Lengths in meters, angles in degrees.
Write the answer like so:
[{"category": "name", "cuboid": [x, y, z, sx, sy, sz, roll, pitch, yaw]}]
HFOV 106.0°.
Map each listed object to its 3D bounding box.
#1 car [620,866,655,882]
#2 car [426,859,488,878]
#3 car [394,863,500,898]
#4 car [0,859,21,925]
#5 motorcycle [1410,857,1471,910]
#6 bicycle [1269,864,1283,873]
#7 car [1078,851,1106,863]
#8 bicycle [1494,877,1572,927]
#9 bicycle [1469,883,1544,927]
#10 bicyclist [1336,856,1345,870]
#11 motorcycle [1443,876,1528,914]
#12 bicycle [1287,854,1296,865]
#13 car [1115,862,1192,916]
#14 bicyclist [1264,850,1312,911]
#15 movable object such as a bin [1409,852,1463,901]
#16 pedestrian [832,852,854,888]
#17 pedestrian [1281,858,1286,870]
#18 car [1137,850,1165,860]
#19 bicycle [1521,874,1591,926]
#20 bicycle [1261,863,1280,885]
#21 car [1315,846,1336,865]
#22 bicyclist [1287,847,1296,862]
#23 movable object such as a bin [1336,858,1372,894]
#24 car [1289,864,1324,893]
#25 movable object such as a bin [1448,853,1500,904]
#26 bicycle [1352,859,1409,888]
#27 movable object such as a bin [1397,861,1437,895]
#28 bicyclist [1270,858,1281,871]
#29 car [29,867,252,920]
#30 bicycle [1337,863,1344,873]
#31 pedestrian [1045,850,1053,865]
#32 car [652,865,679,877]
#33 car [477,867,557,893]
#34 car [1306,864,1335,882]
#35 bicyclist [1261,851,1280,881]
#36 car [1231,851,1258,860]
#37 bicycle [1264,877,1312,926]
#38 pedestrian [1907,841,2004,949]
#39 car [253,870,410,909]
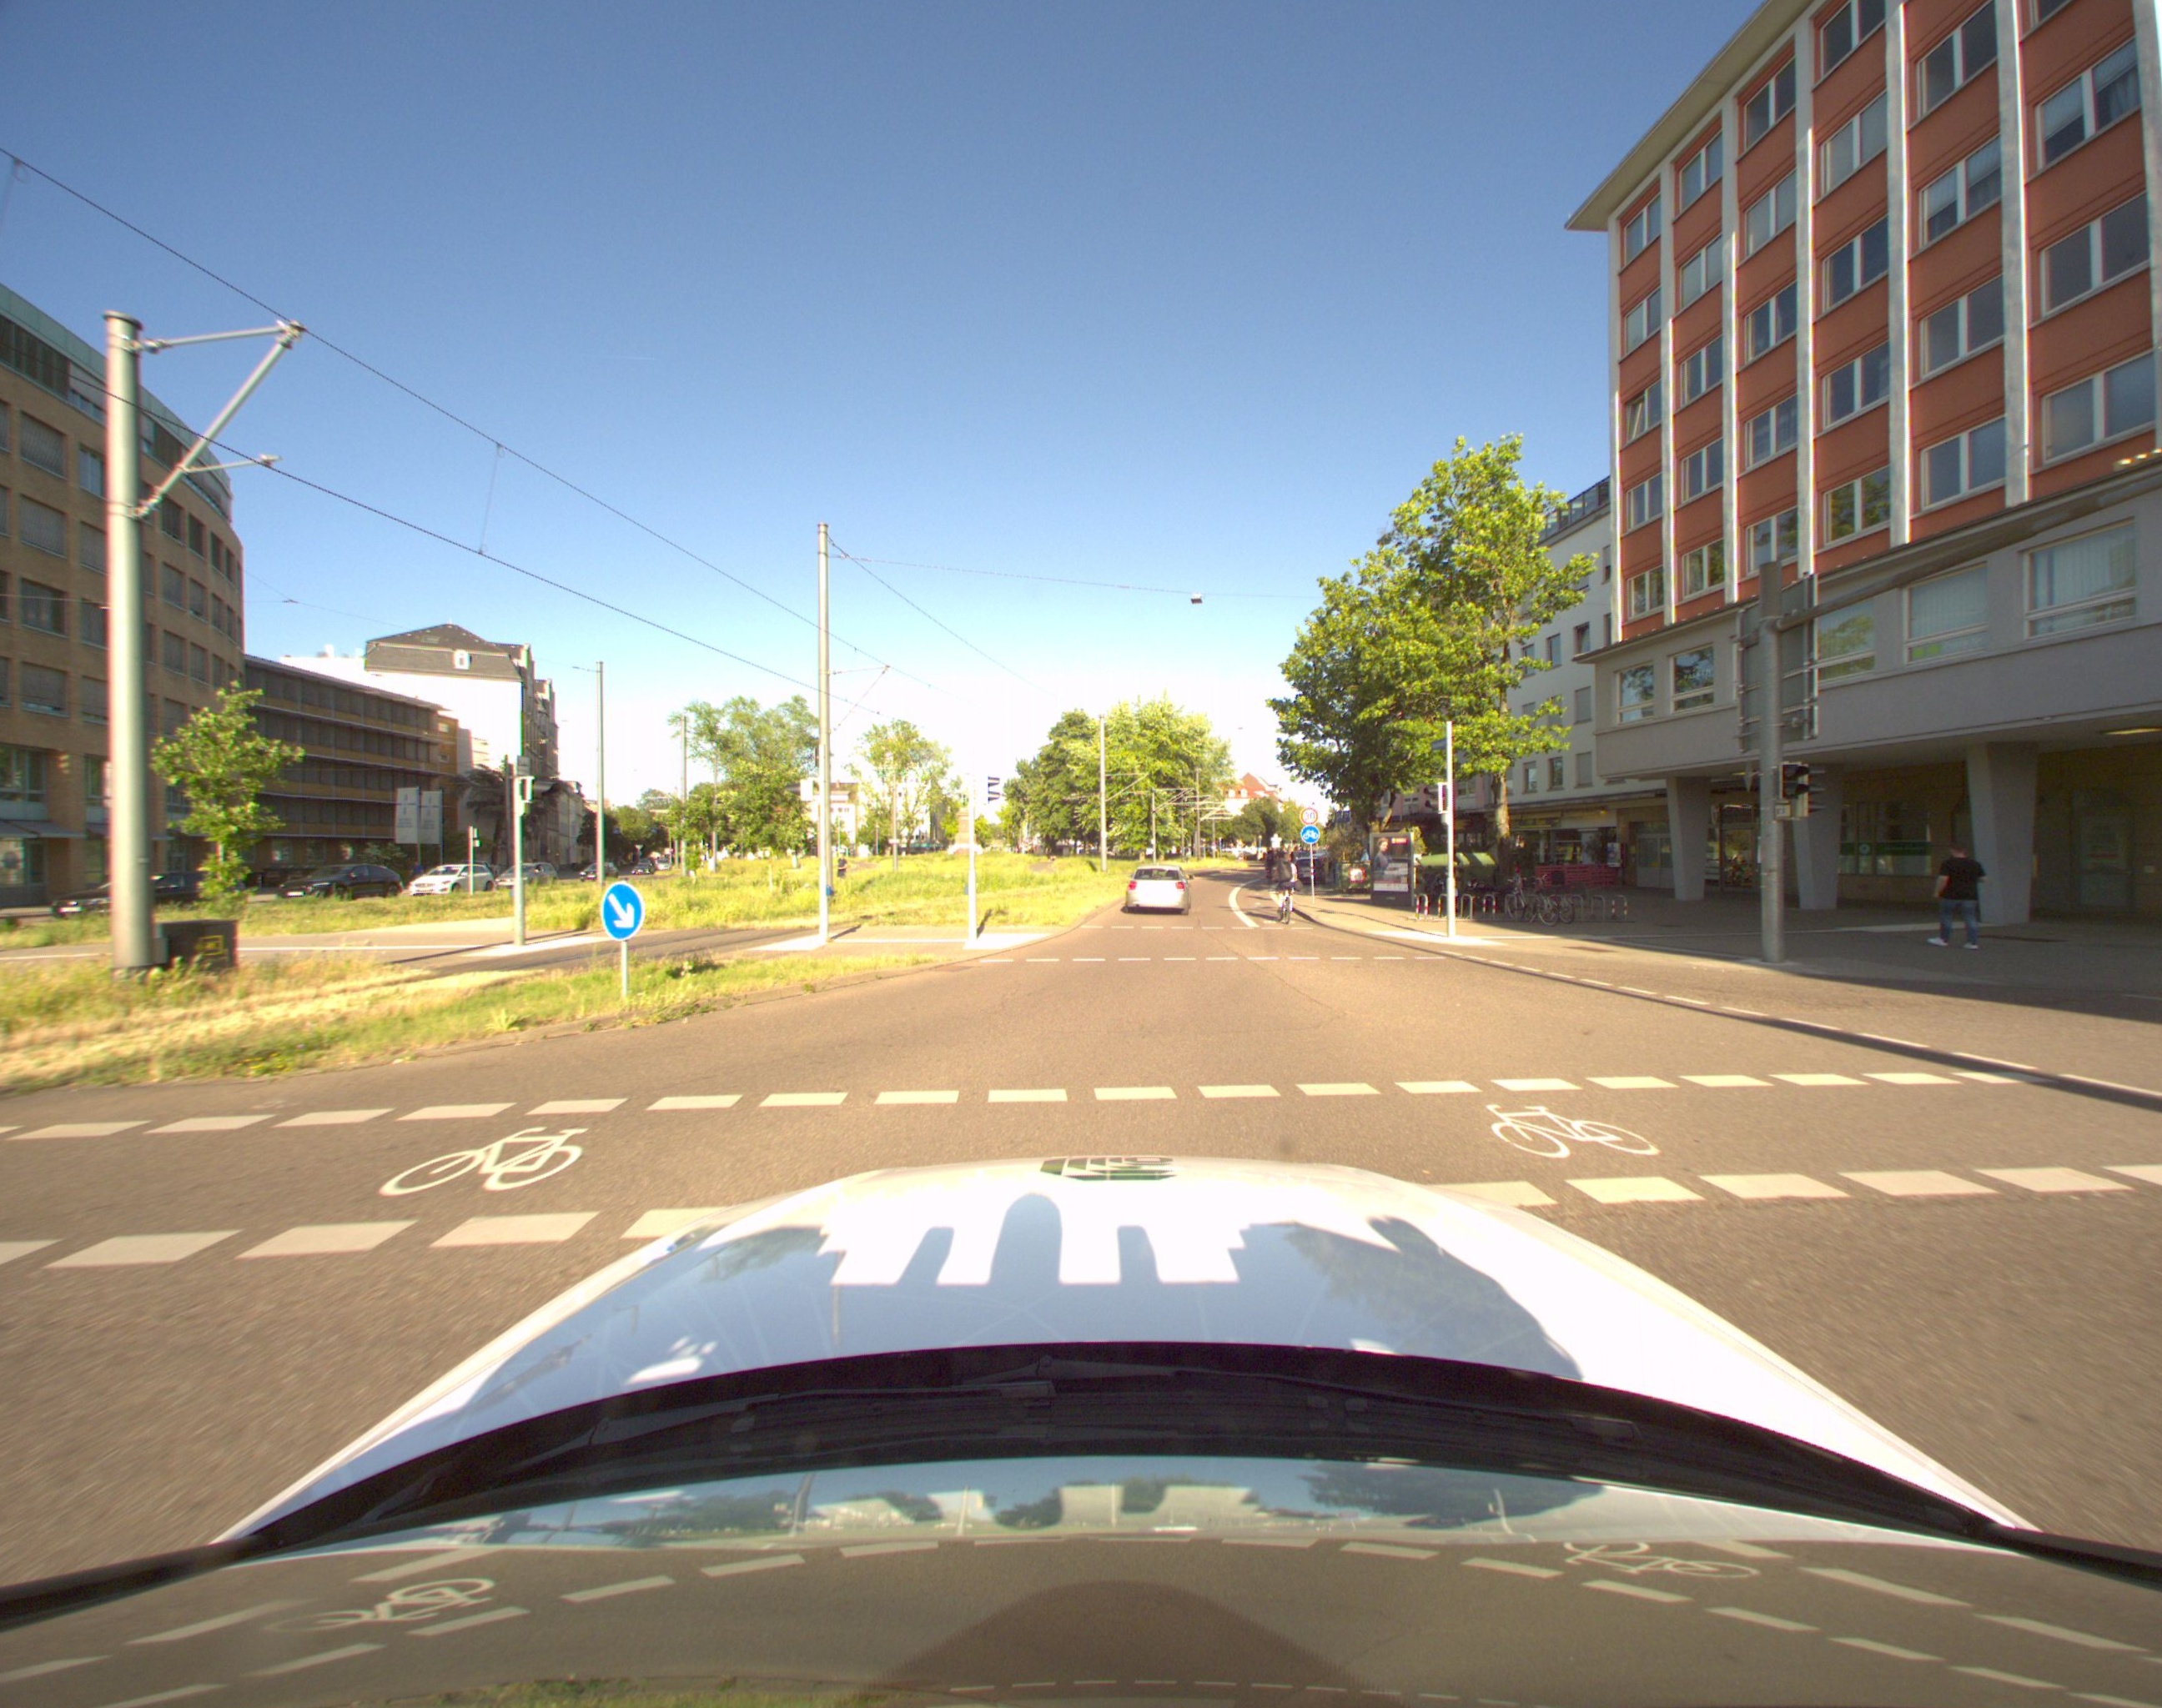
[{"category": "car", "cuboid": [-46.561, 2.132, 85.577, 1.994, 1.513, 4.266, 1, -4, -10]}, {"category": "car", "cuboid": [-53.040, 1.251, 69.299, 4.017, 1.581, 1.978, 2, -1, -36]}, {"category": "car", "cuboid": [-31.558, 1.300, 40.748, 1.992, 1.596, 4.644, 1, -1, -7]}, {"category": "car", "cuboid": [-29.034, 0.987, 19.071, 2.098, 1.734, 5.073, 0, 0, -7]}, {"category": "motorcycle", "cuboid": [11.090, 0.879, 25.258, 0.799, 1.539, 2.545, 1, 0, 1]}, {"category": "bicycle", "cuboid": [23.238, 1.682, 97.075, 0.809, 1.069, 2.575, 1, -1, -8]}, {"category": "car", "cuboid": [2.226, 0.538, 166.062, 5.327, 2.314, 1.996, 1, -1, -5]}, {"category": "bicycle", "cuboid": [11.116, 1.154, 20.107, 0.475, 1.117, 2.113, 1, -1, -9]}, {"category": "bicycle", "cuboid": [10.411, 1.223, 20.028, 0.475, 0.984, 2.113, 1, -1, -9]}, {"category": "bicyclist", "cuboid": [23.867, 0.831, 74.914, 0.752, 1.326, 0.999, 1, -1, 20]}, {"category": "motorcycle", "cuboid": [11.557, 1.171, 23.274, 2.093, 1.022, 0.761, 1, -1, -5]}, {"category": "bicycle", "cuboid": [20.179, 0.527, 78.097, 0.647, 0.958, 2.709, 1, -1, 17]}, {"category": "car", "cuboid": [2.236, 0.982, 23.963, 1.982, 1.423, 4.206, 1, -1, 8]}, {"category": "bicyclist", "cuboid": [5.212, 0.657, 20.552, 1.032, 1.484, 0.990, 1, -1, 6]}, {"category": "movable object such as a bin", "cuboid": [12.066, 0.773, 27.733, 1.379, 1.640, 1.006, 0, -1, -7]}, {"category": "pedestrian", "cuboid": [-11.269, 0.750, 38.588, 0.728, 1.671, 0.748, 0, -1, 19]}, {"category": "pedestrian", "cuboid": [28.944, 1.425, 116.478, 0.631, 1.672, 0.696, 1, -2, 19]}, {"category": "car", "cuboid": [14.838, 0.255, 172.422, 5.572, 2.014, 1.812, 1, -1, -8]}, {"category": "bicycle", "cuboid": [12.034, 1.147, 20.701, 0.531, 1.244, 1.843, 1, -1, -7]}, {"category": "bicycle", "cuboid": [10.734, 1.113, 46.098, 0.813, 1.185, 1.973, 1, -1, 18]}, {"category": "car", "cuboid": [25.537, 0.195, 85.128, 1.978, 1.813, 4.329, 1, -1, 18]}, {"category": "bicyclist", "cuboid": [20.166, 0.043, 78.061, 0.780, 1.453, 1.100, 1, -1, 17]}, {"category": "movable object such as a bin", "cuboid": [11.197, 0.900, 33.447, 1.272, 1.391, 0.925, 1, -1, 12]}, {"category": "car", "cuboid": [12.307, 1.285, 44.333, 1.752, 1.438, 4.603, -1, 0, 16]}, {"category": "movable object such as a bin", "cuboid": [13.392, 0.828, 27.798, 1.254, 1.709, 0.943, 0, -2, -7]}, {"category": "bicycle", "cuboid": [13.049, 0.835, 35.480, 2.141, 1.251, 0.905, -1, -1, 40]}, {"category": "movable object such as a bin", "cuboid": [13.822, 0.982, 33.499, 1.210, 1.391, 0.958, 1, -1, -5]}, {"category": "bicyclist", "cuboid": [23.220, 1.244, 97.185, 0.928, 1.507, 0.823, 1, -1, -9]}, {"category": "car", "cuboid": [-29.753, 1.200, 26.056, 1.992, 1.517, 4.650, 1, -1, -7]}, {"category": "bicycle", "cuboid": [23.853, 1.292, 74.885, 0.530, 0.891, 2.080, 1, -1, 20]}, {"category": "pedestrian", "cuboid": [-3.497, 0.374, 88.641, 0.677, 1.616, 0.549, 2, -2, -34]}, {"category": "car", "cuboid": [-51.947, 2.147, 101.865, 1.997, 1.354, 4.743, 1, 0, -15]}, {"category": "car", "cuboid": [-32.282, 1.461, 46.788, 1.994, 1.427, 4.494, 1, -1, -10]}, {"category": "car", "cuboid": [18.910, 1.523, 64.149, 1.835, 1.344, 4.622, 1, -1, 21]}, {"category": "bicyclist", "cuboid": [10.735, 0.675, 46.088, 0.932, 1.633, 0.939, 1, -1, 18]}, {"category": "car", "cuboid": [34.129, 0.343, 169.913, 5.261, 1.800, 2.157, 1, -1, -9]}, {"category": "bicycle", "cuboid": [5.227, 1.183, 20.681, 0.881, 1.136, 2.232, 1, -1, 6]}, {"category": "pedestrian", "cuboid": [15.440, 0.706, 14.410, 0.819, 1.844, 0.895, 1, -1, 16]}, {"category": "car", "cuboid": [-30.965, 1.412, 33.924, 1.989, 1.447, 5.013, 1, -1, -3]}]
